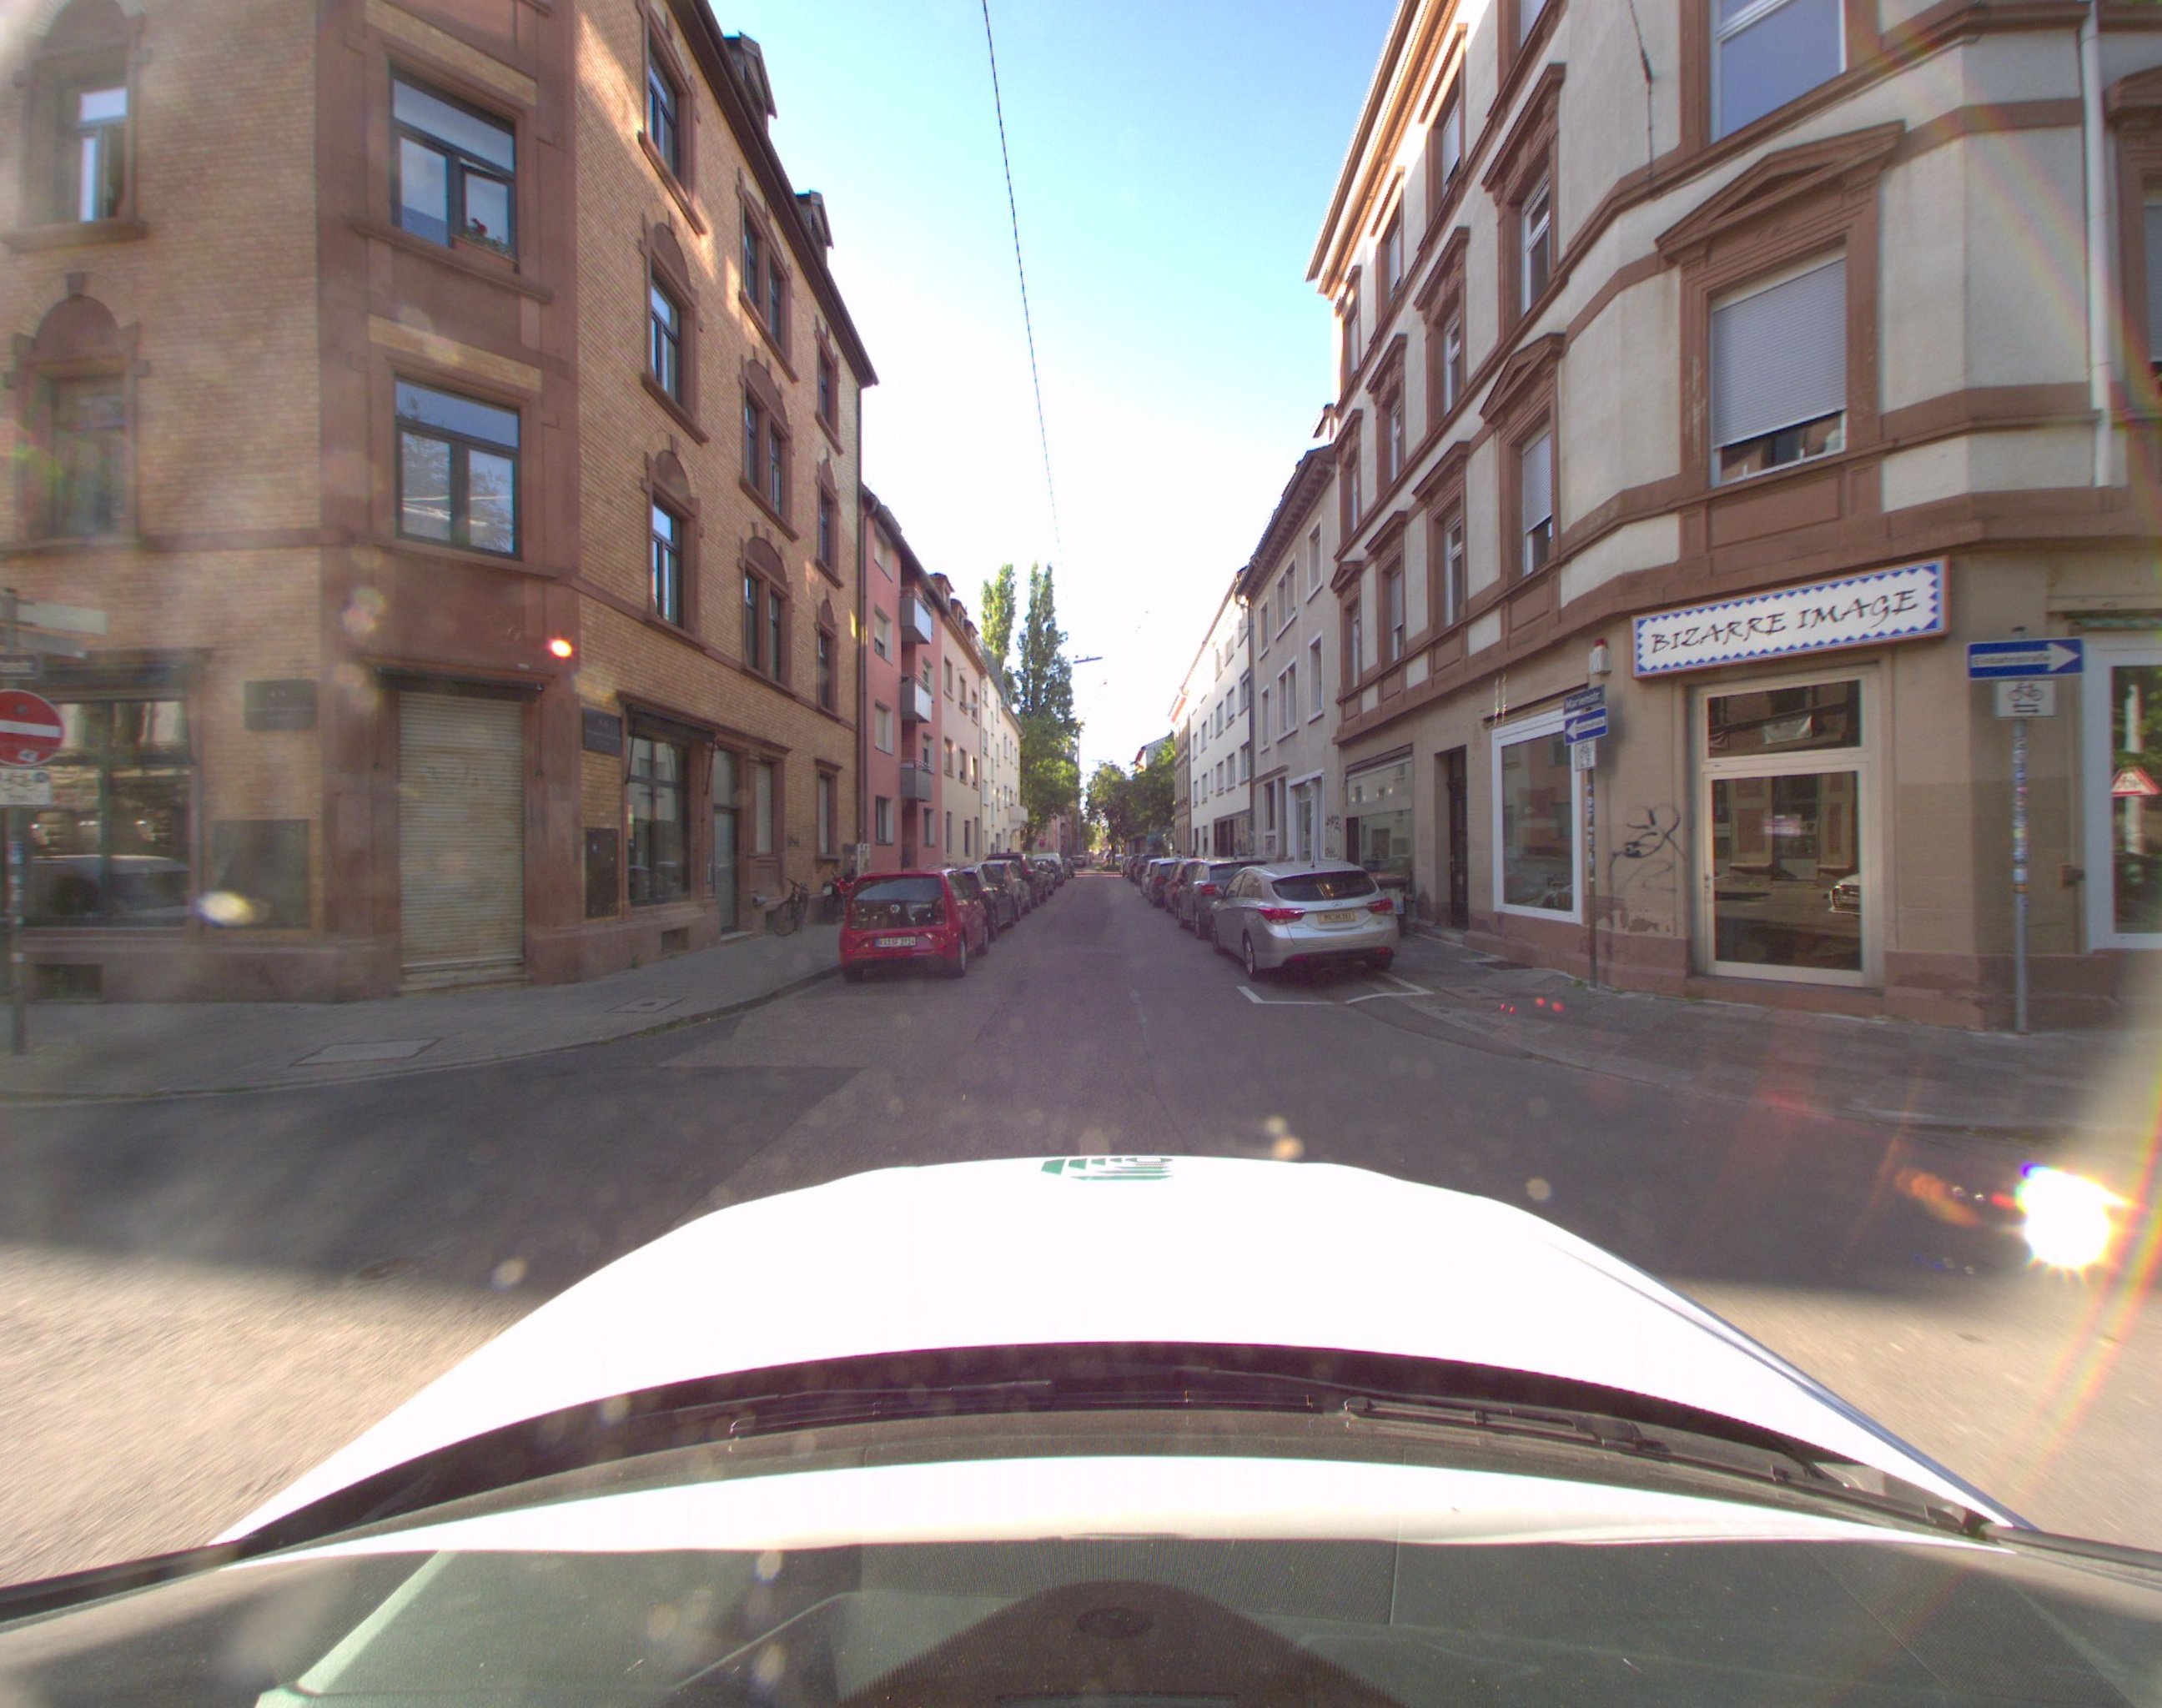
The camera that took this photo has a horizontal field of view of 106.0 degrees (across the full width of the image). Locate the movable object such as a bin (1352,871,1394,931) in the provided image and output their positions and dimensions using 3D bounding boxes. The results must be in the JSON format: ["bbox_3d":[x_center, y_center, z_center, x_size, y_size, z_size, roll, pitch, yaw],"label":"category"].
[{"bbox_3d":[5.322,0.853,14.861,0.512,1.039,0.594,-2,0,2],"label":"movable object such as a bin"}]

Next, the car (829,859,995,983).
[{"bbox_3d":[-2.357,0.871,12.213,1.622,1.481,3.601,-3,0,1],"label":"car"}]

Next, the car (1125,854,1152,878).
[{"bbox_3d":[4.047,0.825,58.006,1.670,1.561,3.796,-3,0,1],"label":"car"}]

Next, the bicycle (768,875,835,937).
[{"bbox_3d":[-5.438,0.981,15.970,0.531,1.074,1.892,3,0,2],"label":"bicycle"}]

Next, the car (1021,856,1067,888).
[{"bbox_3d":[-1.863,0.888,41.903,1.665,1.486,3.999,-3,0,6],"label":"car"}]

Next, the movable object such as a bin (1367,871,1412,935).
[{"bbox_3d":[5.335,0.837,14.115,0.512,1.039,0.620,-2,0,2],"label":"movable object such as a bin"}]

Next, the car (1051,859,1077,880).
[{"bbox_3d":[-1.203,1.097,59.825,1.664,1.361,4.049,-3,0,1],"label":"car"}]

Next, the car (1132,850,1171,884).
[{"bbox_3d":[3.715,0.663,43.430,1.670,1.627,4.250,-5,0,1],"label":"car"}]

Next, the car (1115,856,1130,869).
[{"bbox_3d":[5.169,1.079,101.924,1.670,1.487,3.638,-3,0,1],"label":"car"}]

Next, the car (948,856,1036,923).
[{"bbox_3d":[-2.285,0.876,21.773,1.649,1.521,3.947,-3,0,3],"label":"car"}]

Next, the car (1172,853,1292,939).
[{"bbox_3d":[2.992,0.767,16.953,1.738,1.506,4.021,-3,0,1],"label":"car"}]

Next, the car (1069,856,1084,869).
[{"bbox_3d":[-0.565,0.993,100.756,1.670,1.487,4.095,-3,0,1],"label":"car"}]

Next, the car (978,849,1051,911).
[{"bbox_3d":[-2.116,0.784,27.166,1.736,1.811,4.676,-3,0,3],"label":"car"}]

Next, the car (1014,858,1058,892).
[{"bbox_3d":[-2.013,0.924,37.510,1.667,1.388,4.182,-3,0,1],"label":"car"}]

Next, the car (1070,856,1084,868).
[{"bbox_3d":[-0.475,1.023,106.205,1.670,1.487,4.095,-3,0,1],"label":"car"}]

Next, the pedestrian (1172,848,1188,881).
[{"bbox_3d":[5.148,0.530,42.424,0.683,1.660,0.717,-2,0,1],"label":"pedestrian"}]

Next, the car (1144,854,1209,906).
[{"bbox_3d":[3.040,0.779,26.605,1.670,1.506,3.938,-3,0,1],"label":"car"}]

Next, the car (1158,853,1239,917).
[{"bbox_3d":[3.102,0.775,22.264,1.593,1.506,4.185,-3,0,1],"label":"car"}]

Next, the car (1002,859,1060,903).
[{"bbox_3d":[-1.923,1.008,32.476,1.736,1.506,4.350,-3,0,3],"label":"car"}]

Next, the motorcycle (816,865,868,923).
[{"bbox_3d":[-5.362,0.879,18.389,0.531,1.206,1.909,-1,0,2],"label":"motorcycle"}]

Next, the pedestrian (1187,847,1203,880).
[{"bbox_3d":[5.946,0.495,42.450,0.683,1.660,0.717,-2,0,1],"label":"pedestrian"}]

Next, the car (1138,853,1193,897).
[{"bbox_3d":[3.170,0.744,31.154,1.670,1.506,3.938,-3,0,1],"label":"car"}]

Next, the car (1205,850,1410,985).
[{"bbox_3d":[2.990,0.742,11.733,1.738,1.506,4.358,-3,0,1],"label":"car"}]

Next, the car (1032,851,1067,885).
[{"bbox_3d":[-1.750,0.775,46.539,1.759,1.785,4.039,-3,0,1],"label":"car"}]

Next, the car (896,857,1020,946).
[{"bbox_3d":[-2.407,0.888,16.950,1.688,1.521,4.099,-3,0,3],"label":"car"}]

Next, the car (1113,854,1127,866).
[{"bbox_3d":[5.173,0.756,108.331,1.670,1.487,3.638,-3,0,1],"label":"car"}]

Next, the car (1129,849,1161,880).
[{"bbox_3d":[3.758,0.628,48.394,1.669,1.681,4.097,-3,-1,2],"label":"car"}]

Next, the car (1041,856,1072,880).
[{"bbox_3d":[-1.625,0.894,55.313,1.662,1.469,3.825,-3,0,4],"label":"car"}]

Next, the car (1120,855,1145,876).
[{"bbox_3d":[3.965,0.887,62.912,1.670,1.487,4.095,-3,0,1],"label":"car"}]
